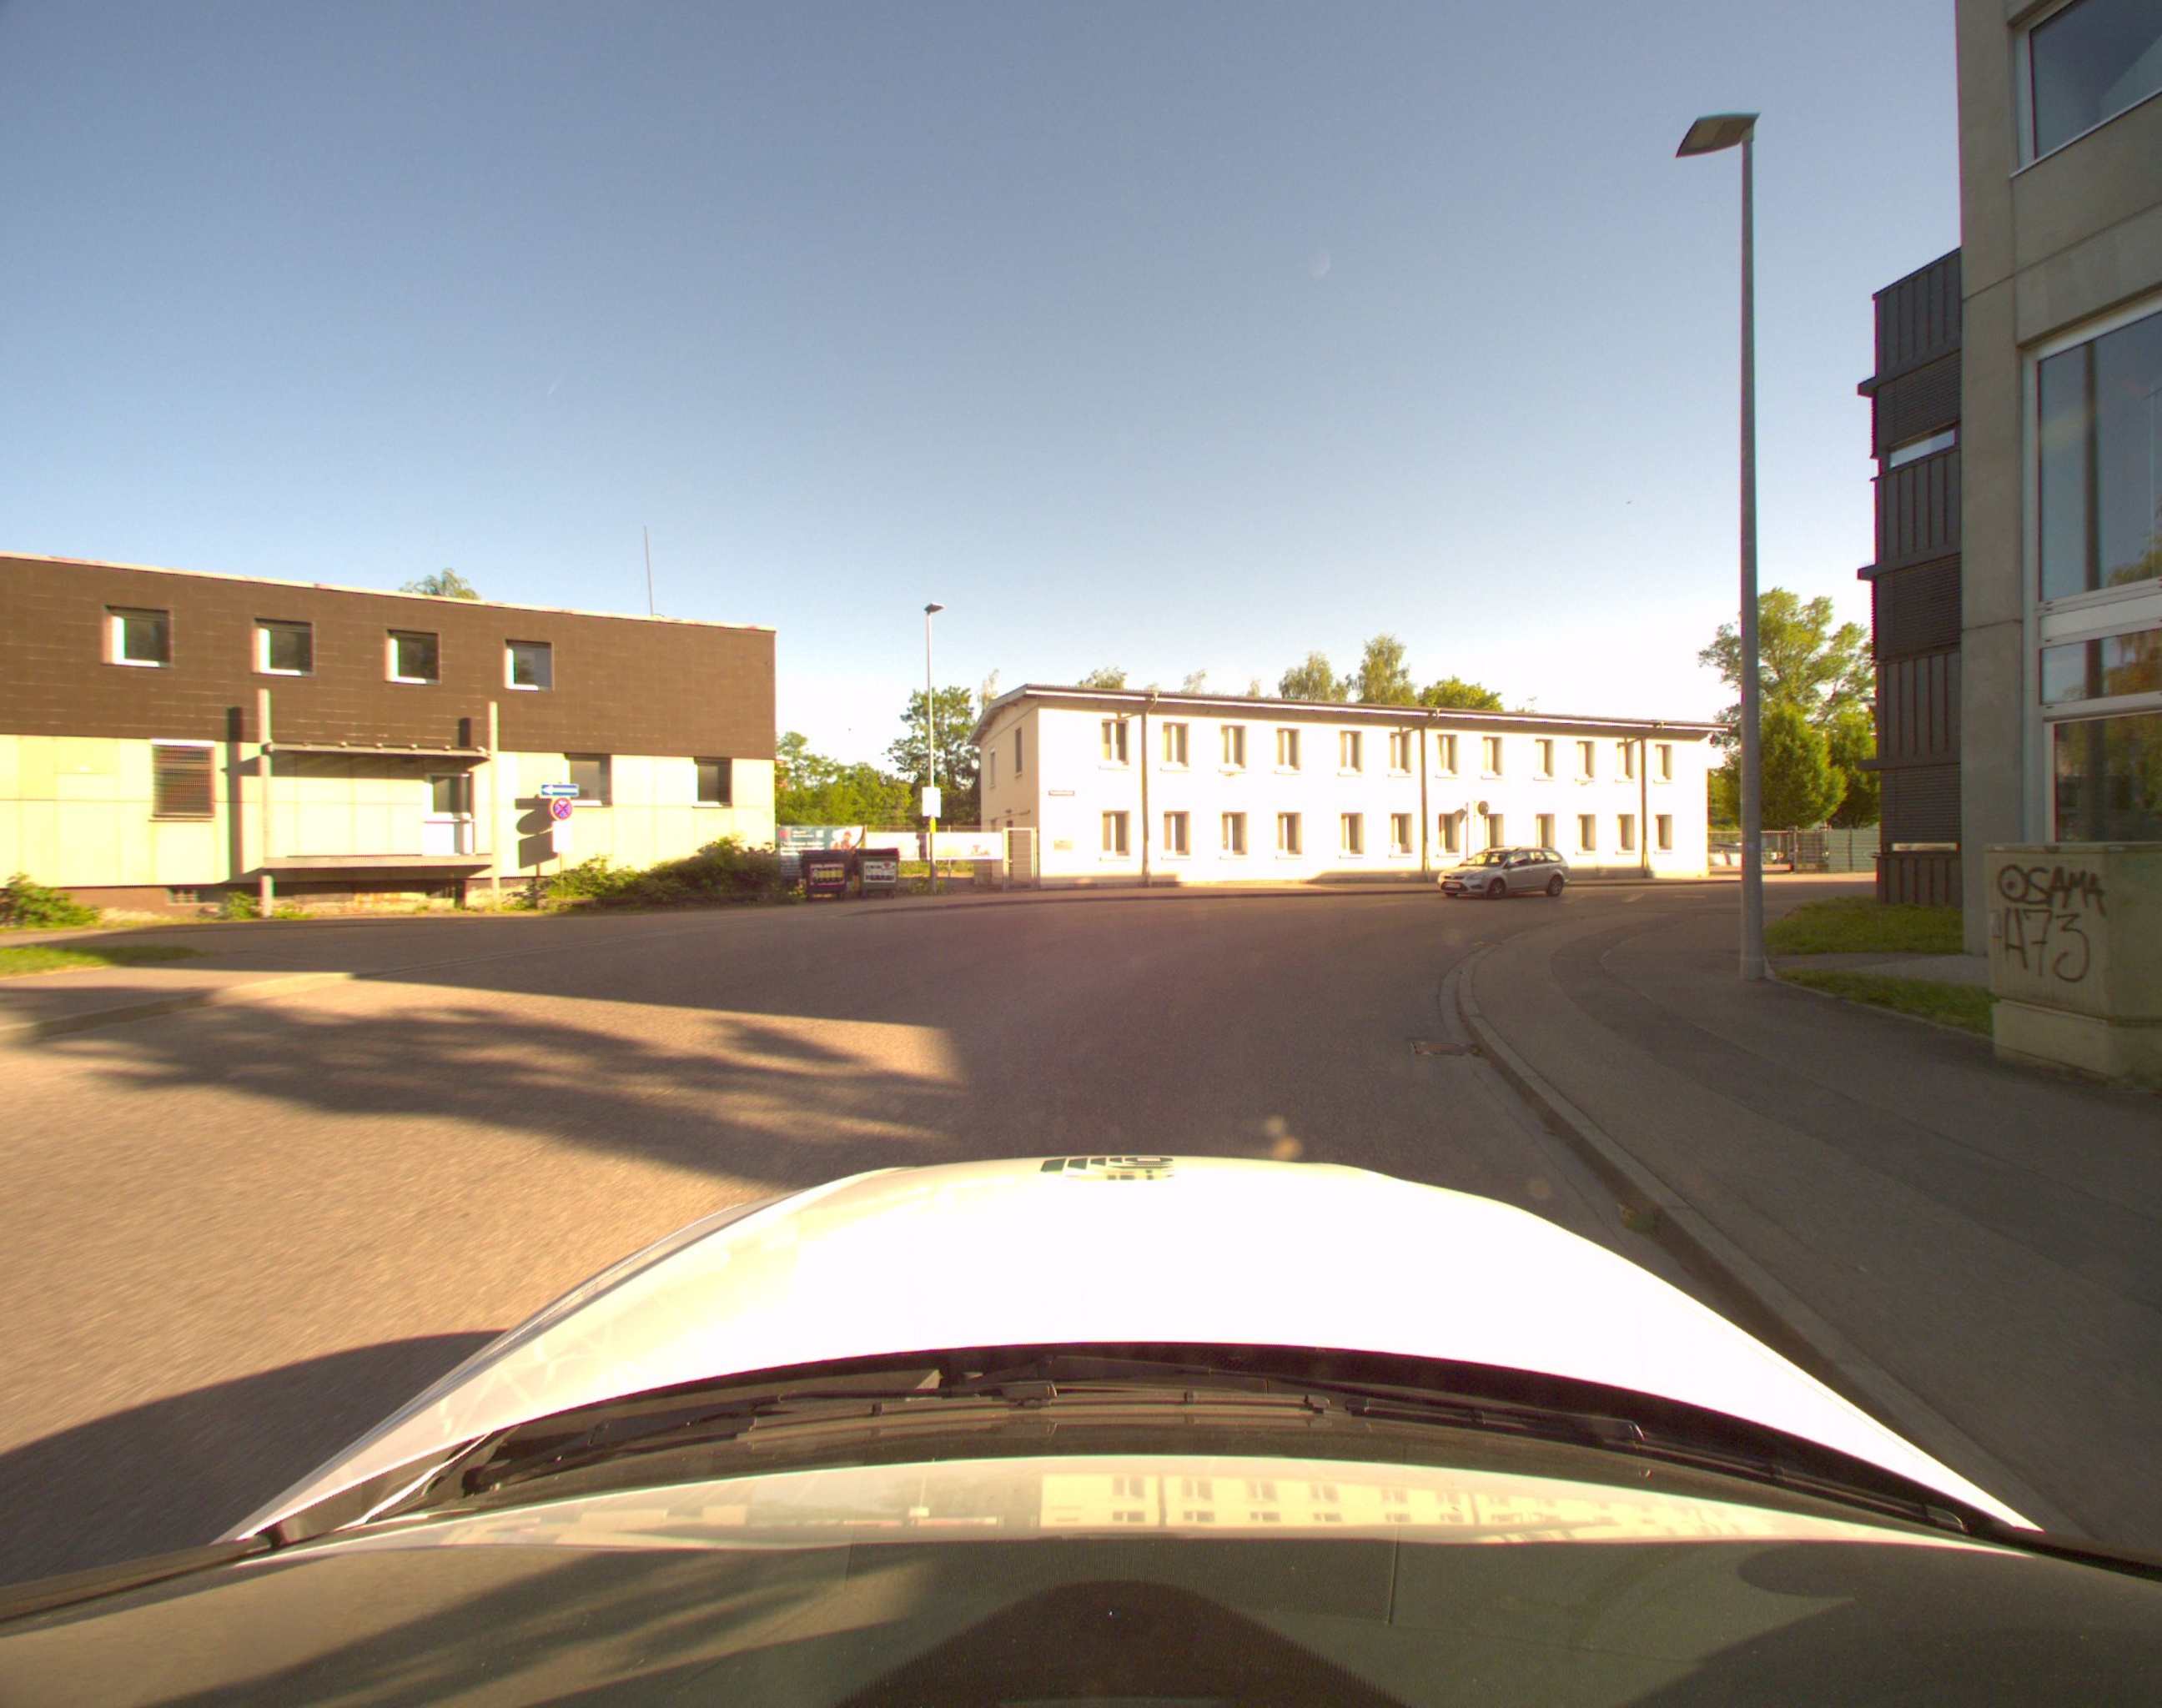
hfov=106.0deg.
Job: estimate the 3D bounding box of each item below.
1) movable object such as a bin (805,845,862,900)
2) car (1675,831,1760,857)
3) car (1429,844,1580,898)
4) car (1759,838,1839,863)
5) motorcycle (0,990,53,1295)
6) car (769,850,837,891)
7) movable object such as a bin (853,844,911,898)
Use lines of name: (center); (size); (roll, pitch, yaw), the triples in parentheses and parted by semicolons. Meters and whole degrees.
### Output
movable object such as a bin: (-7.007, 0.503, 23.006); (1.292, 1.471, 1.352); (-1, 0, -29)
car: (41.118, -0.610, 52.744); (1.873, 1.540, 3.978); (-1, -1, -16)
car: (12.927, 0.473, 24.823); (4.509, 1.505, 1.730); (-1, 0, -25)
car: (45.242, -0.244, 51.343); (3.996, 1.451, 1.989); (-1, 0, -17)
motorcycle: (-3.967, 0.969, 1.644); (0.830, 0.972, 2.300); (-1, 0, 1)
car: (-12.079, 0.679, 35.278); (2.006, 1.618, 3.961); (-1, 1, -30)
movable object such as a bin: (-5.796, 0.471, 23.685); (1.376, 1.471, 1.191); (-1, 0, -29)
